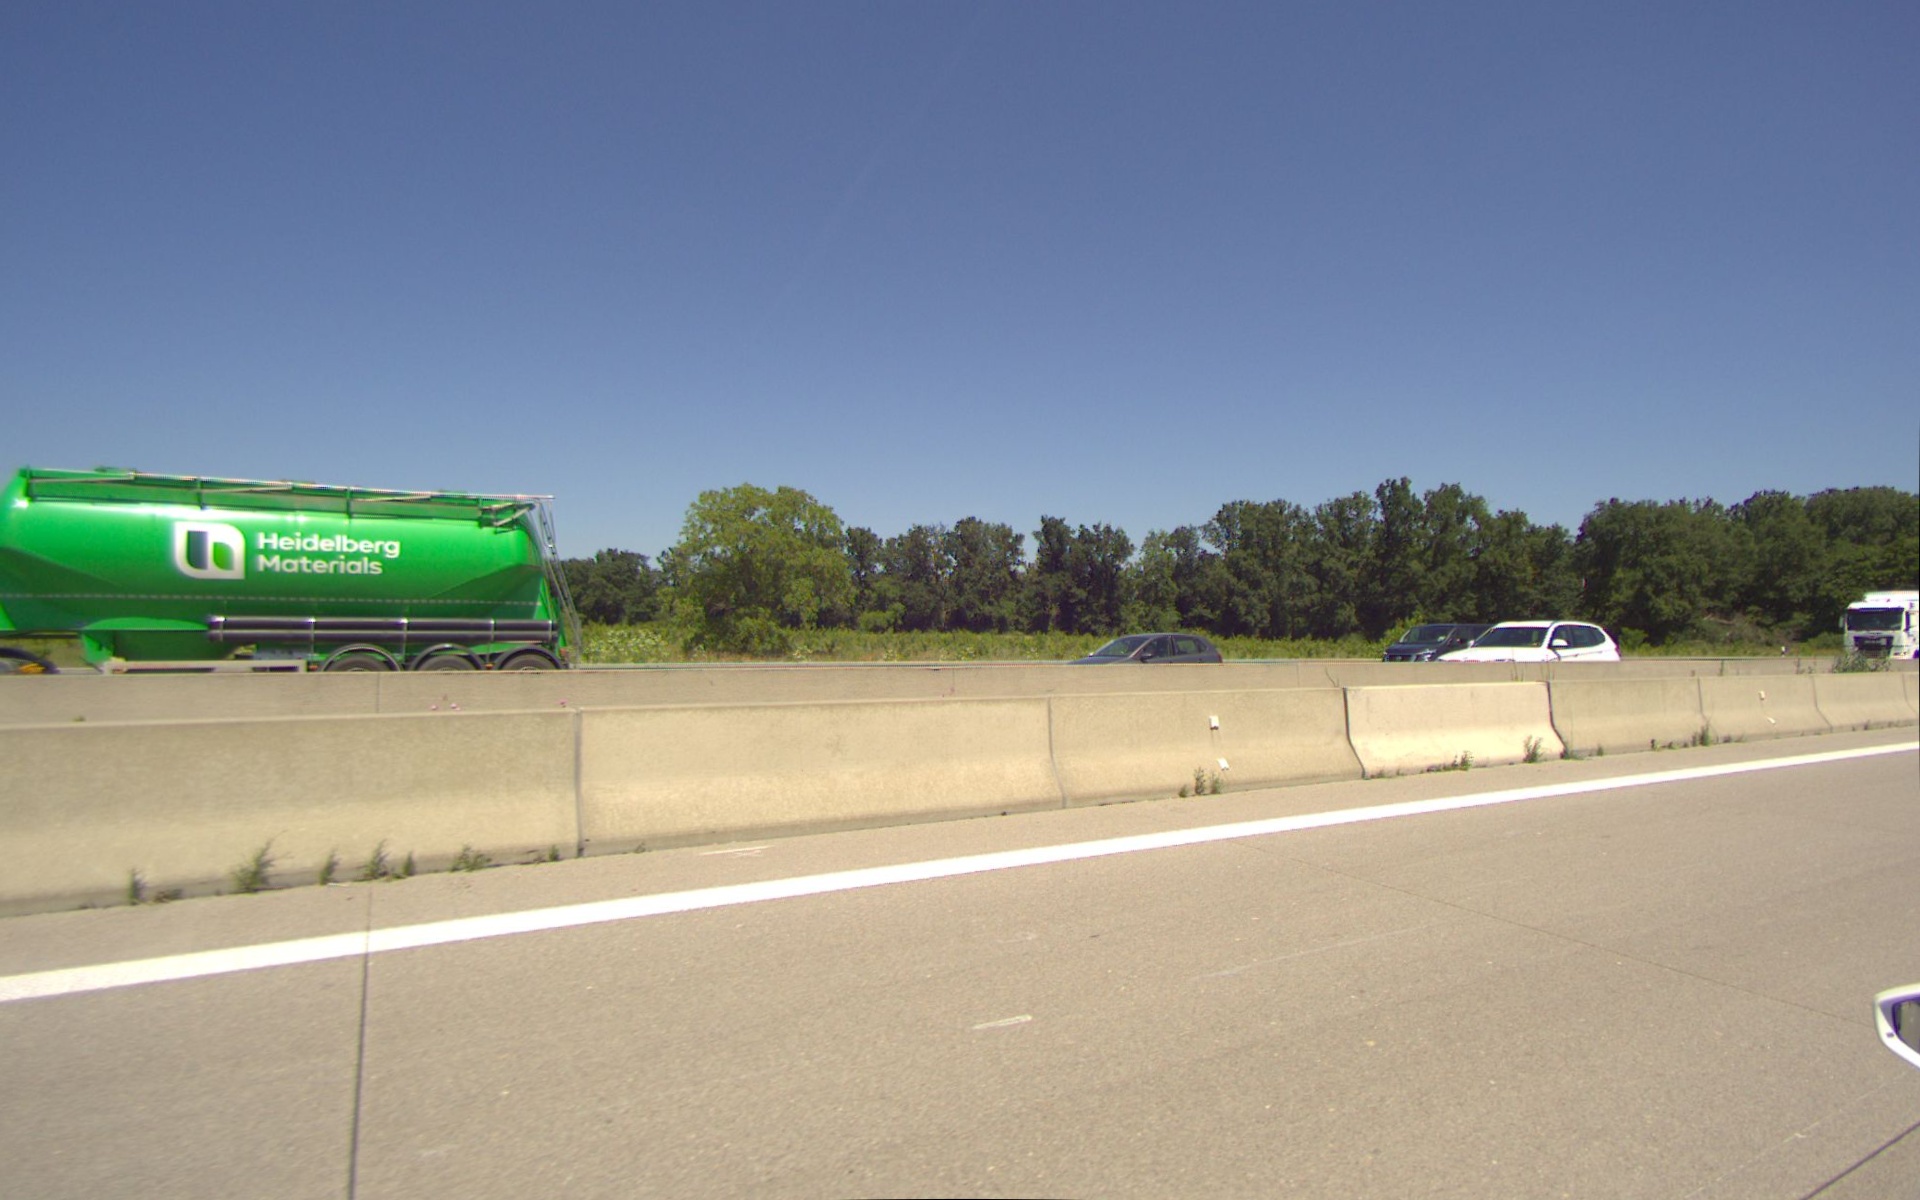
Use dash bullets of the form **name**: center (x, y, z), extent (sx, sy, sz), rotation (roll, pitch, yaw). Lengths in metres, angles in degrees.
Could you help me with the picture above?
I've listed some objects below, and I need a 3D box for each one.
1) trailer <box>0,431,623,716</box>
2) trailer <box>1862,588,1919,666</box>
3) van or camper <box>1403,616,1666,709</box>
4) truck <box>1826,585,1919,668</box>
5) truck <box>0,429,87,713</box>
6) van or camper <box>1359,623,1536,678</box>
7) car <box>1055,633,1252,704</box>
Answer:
- **trailer**: center (-11.506, -0.286, 16.503), extent (10.975, 3.929, 2.722), rotation (2, -1, -30)
- **trailer**: center (54.191, 1.532, 55.447), extent (12.196, 4.035, 2.986), rotation (1, -1, -30)
- **van or camper**: center (12.124, 1.237, 21.073), extent (5.781, 1.715, 2.231), rotation (1, -1, -30)
- **truck**: center (48.100, 1.394, 51.834), extent (7.209, 4.035, 2.986), rotation (1, -1, -30)
- **truck**: center (-16.308, -0.452, 13.683), extent (6.131, 3.934, 2.731), rotation (1, -1, -30)
- **van or camper**: center (16.013, 1.622, 32.877), extent (6.022, 1.643, 2.353), rotation (1, -1, -31)
- **car**: center (4.085, 1.382, 21.051), extent (3.953, 1.351, 1.688), rotation (1, -1, -30)
